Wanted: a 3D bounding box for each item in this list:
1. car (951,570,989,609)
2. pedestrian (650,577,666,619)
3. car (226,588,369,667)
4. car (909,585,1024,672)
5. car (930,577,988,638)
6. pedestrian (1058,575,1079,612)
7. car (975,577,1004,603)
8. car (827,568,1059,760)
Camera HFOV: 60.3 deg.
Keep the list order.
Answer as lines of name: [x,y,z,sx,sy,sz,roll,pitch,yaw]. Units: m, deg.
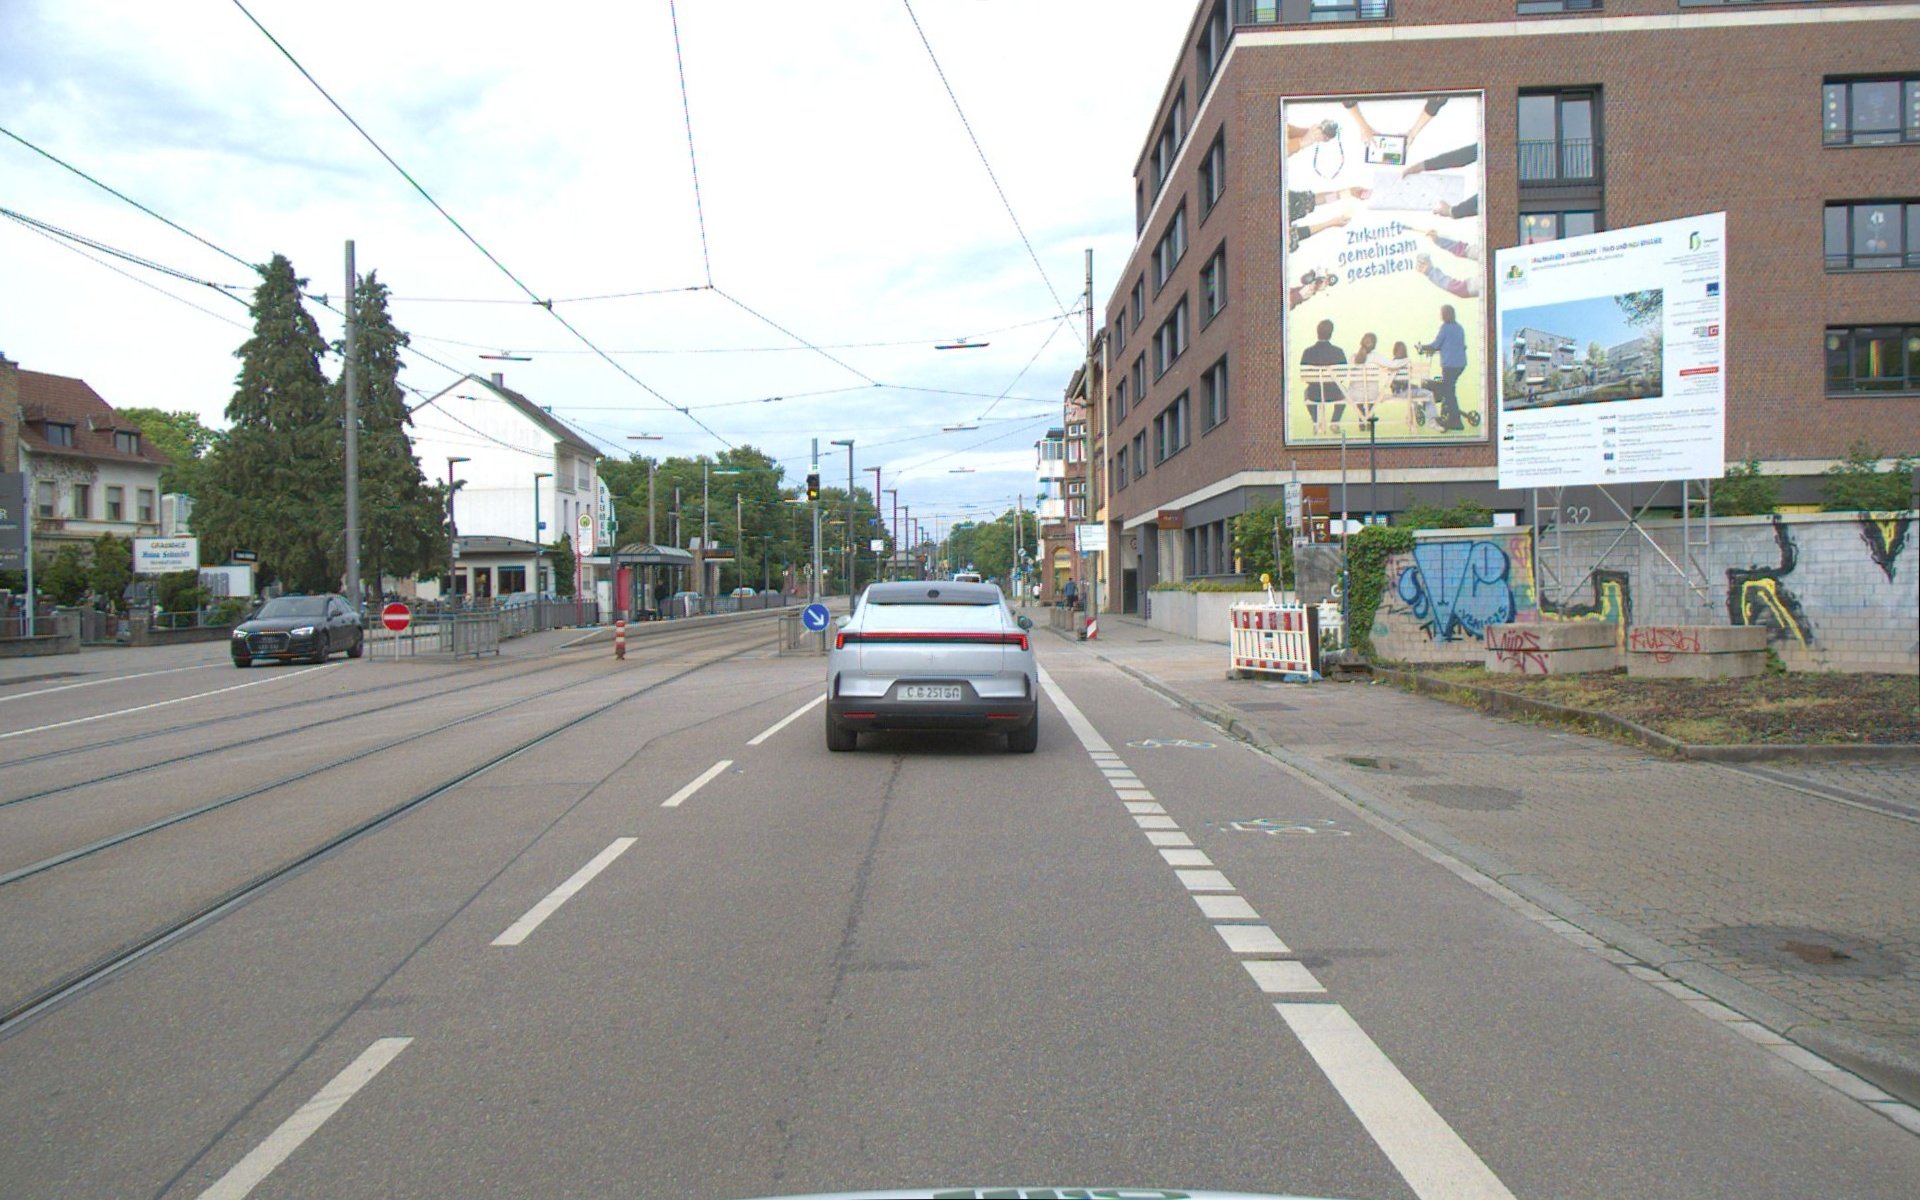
car: [0.613,-0.653,105.970,2.181,2.444,5.120,0,0,-3]
pedestrian: [-12.139,-0.070,66.432,0.604,1.694,0.696,0,0,-7]
car: [-14.152,0.550,35.596,1.870,1.498,4.808,-2,0,-10]
car: [0.082,0.475,30.592,1.953,1.444,3.999,-1,1,-1]
car: [-0.013,0.208,48.500,1.646,1.717,3.824,0,0,1]
pedestrian: [5.793,-0.340,88.272,0.940,1.882,0.976,-3,1,6]
car: [2.348,-0.797,130.402,1.951,2.049,4.003,0,0,7]
car: [-0.276,0.546,15.993,1.960,1.608,3.997,0,0,-4]
